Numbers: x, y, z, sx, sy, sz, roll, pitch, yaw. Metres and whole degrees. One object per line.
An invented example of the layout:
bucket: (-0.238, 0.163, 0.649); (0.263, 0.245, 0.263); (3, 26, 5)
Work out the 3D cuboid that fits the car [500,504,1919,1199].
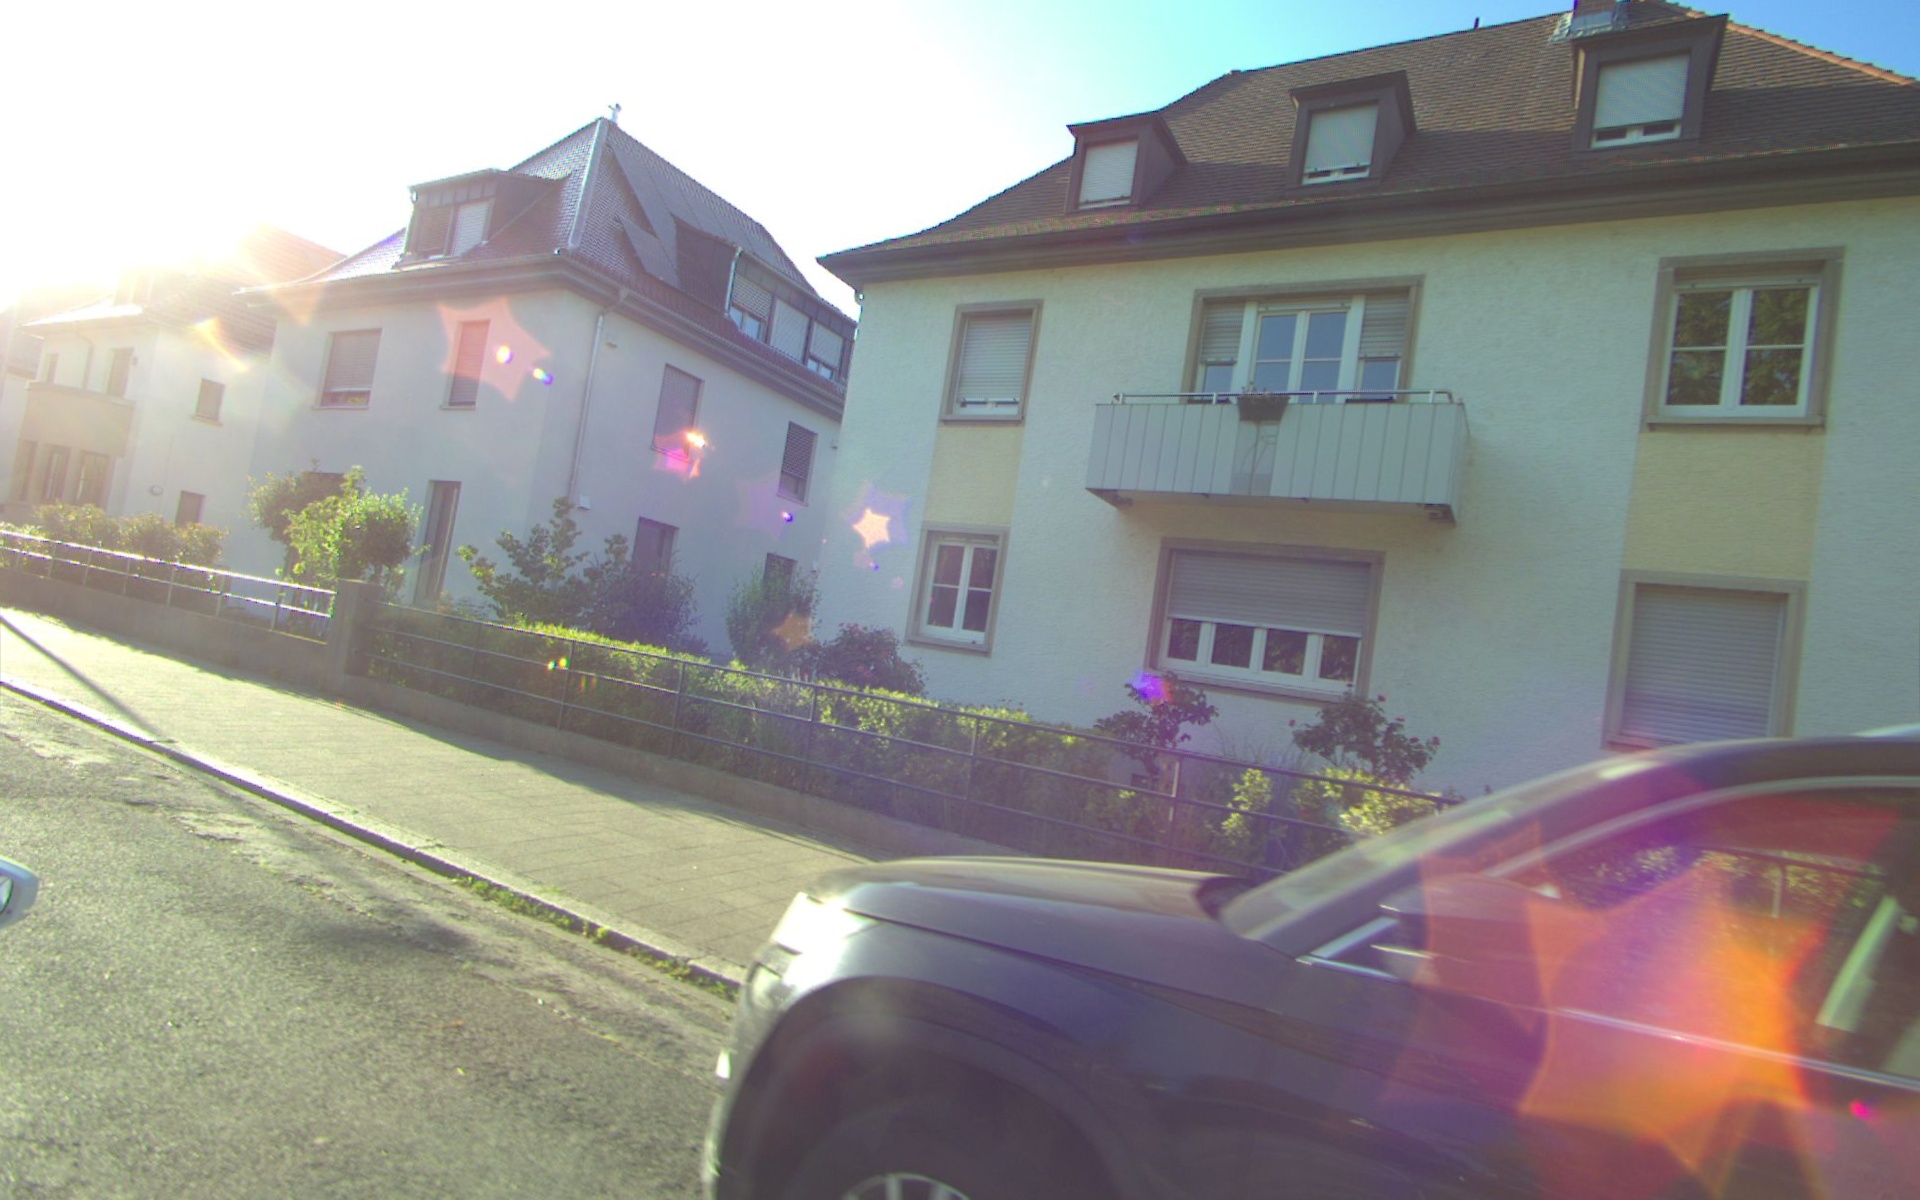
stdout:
car: (1.505, 1.059, 1.800); (4.392, 1.732, 1.870); (6, -10, 30)
